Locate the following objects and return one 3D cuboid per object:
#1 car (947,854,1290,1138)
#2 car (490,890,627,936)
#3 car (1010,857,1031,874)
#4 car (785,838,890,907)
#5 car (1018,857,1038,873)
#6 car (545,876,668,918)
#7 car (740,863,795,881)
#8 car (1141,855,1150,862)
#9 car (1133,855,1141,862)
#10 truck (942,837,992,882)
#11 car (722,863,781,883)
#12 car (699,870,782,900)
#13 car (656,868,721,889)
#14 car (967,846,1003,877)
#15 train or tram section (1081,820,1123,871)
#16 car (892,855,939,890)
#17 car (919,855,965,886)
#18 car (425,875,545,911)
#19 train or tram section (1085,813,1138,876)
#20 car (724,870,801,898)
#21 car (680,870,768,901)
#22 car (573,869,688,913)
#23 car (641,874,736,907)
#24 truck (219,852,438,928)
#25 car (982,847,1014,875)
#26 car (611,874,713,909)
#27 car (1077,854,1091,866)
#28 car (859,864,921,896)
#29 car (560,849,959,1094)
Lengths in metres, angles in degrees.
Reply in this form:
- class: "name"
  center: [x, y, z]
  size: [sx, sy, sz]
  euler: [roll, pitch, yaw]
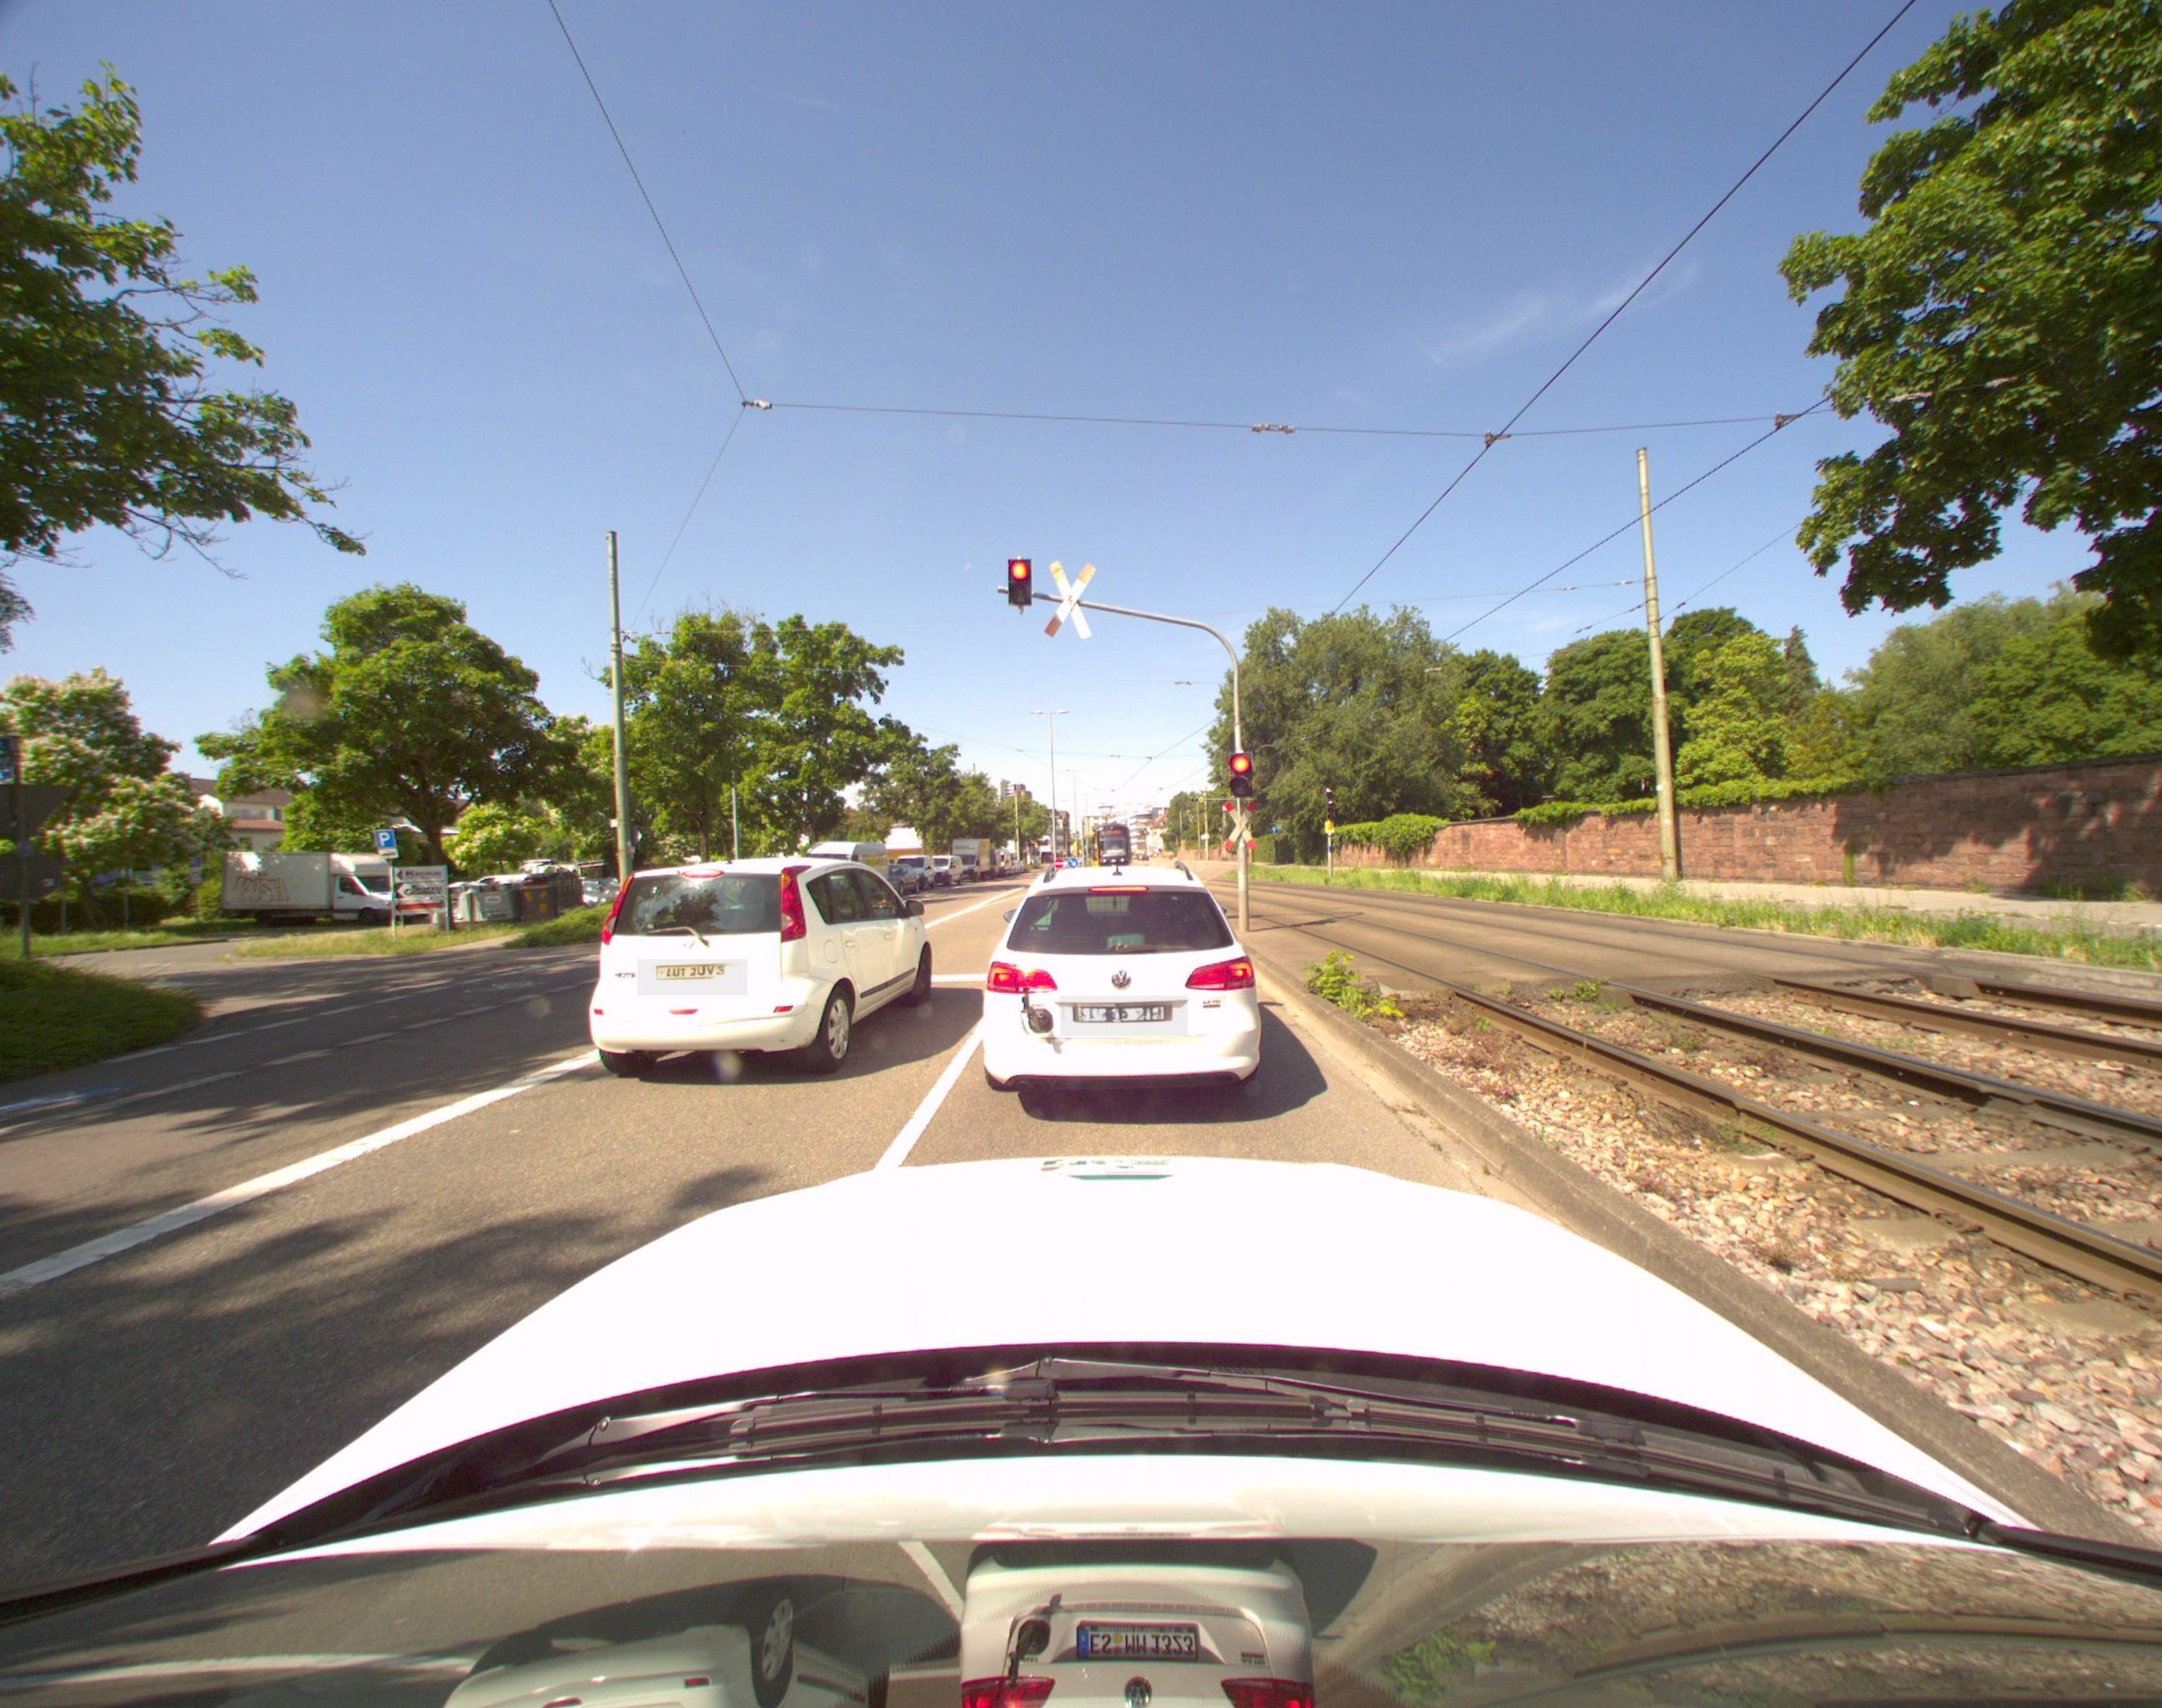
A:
- class: "car"
  center: [0.262, 0.753, 6.323]
  size: [1.756, 1.430, 4.002]
  euler: [-3, 0, 2]
- class: "car"
  center: [-19.907, 2.229, 31.164]
  size: [3.977, 1.415, 1.729]
  euler: [-4, -1, -3]
- class: "car"
  center: [-6.792, 1.276, 92.026]
  size: [1.856, 1.868, 5.415]
  euler: [0, 0, 1]
- class: "car"
  center: [-9.588, 0.682, 32.672]
  size: [2.114, 2.516, 5.822]
  euler: [0, 0, 3]
- class: "car"
  center: [-6.412, 1.350, 98.938]
  size: [1.856, 1.868, 5.415]
  euler: [0, 0, 1]
- class: "car"
  center: [-19.675, 1.764, 33.857]
  size: [3.977, 1.415, 1.729]
  euler: [-4, -1, -3]
- class: "car"
  center: [-31.791, 1.854, 82.772]
  size: [4.780, 1.787, 2.062]
  euler: [0, -1, -3]
- class: "car"
  center: [16.073, 1.107, 203.295]
  size: [1.857, 1.868, 5.063]
  euler: [0, 0, 1]
- class: "car"
  center: [15.114, 1.174, 218.275]
  size: [1.857, 1.868, 5.063]
  euler: [0, 0, 1]
- class: "truck"
  center: [-8.400, 0.408, 60.688]
  size: [2.411, 3.150, 7.001]
  euler: [0, 0, 2]
- class: "car"
  center: [-31.490, 1.813, 77.983]
  size: [4.780, 1.787, 2.062]
  euler: [0, -1, -3]
- class: "car"
  center: [-19.619, 1.762, 47.061]
  size: [3.977, 1.415, 1.729]
  euler: [-4, -1, -3]
- class: "car"
  center: [-35.165, 2.190, 73.013]
  size: [4.780, 1.787, 2.062]
  euler: [0, -1, -3]
- class: "car"
  center: [-8.026, 0.611, 68.683]
  size: [2.114, 2.516, 5.737]
  euler: [0, 0, 2]
- class: "train or tram section"
  center: [1.632, -0.638, 69.788]
  size: [2.862, 3.855, 12.384]
  euler: [-3, 0, -1]
- class: "car"
  center: [-9.204, 0.986, 45.686]
  size: [1.859, 1.868, 5.068]
  euler: [0, 0, -4]
- class: "car"
  center: [-8.843, 1.007, 52.267]
  size: [1.856, 1.868, 5.415]
  euler: [0, 0, 1]
- class: "car"
  center: [-31.778, 2.042, 43.520]
  size: [4.780, 1.787, 2.062]
  euler: [0, -1, -3]
- class: "train or tram section"
  center: [1.964, -0.596, 57.361]
  size: [2.862, 3.855, 12.384]
  euler: [-3, 0, -1]
- class: "car"
  center: [-19.473, 1.816, 49.877]
  size: [3.977, 1.415, 1.729]
  euler: [-4, -1, -3]
- class: "car"
  center: [-19.548, 1.717, 44.727]
  size: [3.977, 1.415, 1.729]
  euler: [-4, -1, -3]
- class: "car"
  center: [-19.928, 1.624, 36.148]
  size: [3.977, 1.610, 1.729]
  euler: [-4, -1, -3]
- class: "car"
  center: [-20.297, 1.863, 42.190]
  size: [3.977, 1.415, 1.729]
  euler: [-4, -1, -3]
- class: "truck"
  center: [-32.386, 1.515, 35.246]
  size: [6.979, 3.110, 2.677]
  euler: [0, 0, 0]
- class: "car"
  center: [-7.722, 0.671, 76.117]
  size: [2.114, 2.516, 5.737]
  euler: [0, 0, 2]
- class: "car"
  center: [-20.304, 1.800, 39.600]
  size: [3.977, 1.415, 1.729]
  euler: [-4, -1, -3]
- class: "car"
  center: [0.413, 0.796, 112.979]
  size: [1.698, 1.473, 4.593]
  euler: [-3, 0, 3]
- class: "car"
  center: [-9.083, 1.218, 39.110]
  size: [1.856, 1.415, 4.281]
  euler: [0, 0, 1]
- class: "car"
  center: [-2.423, 0.761, 7.524]
  size: [1.655, 1.547, 4.550]
  euler: [-1, 0, 3]
